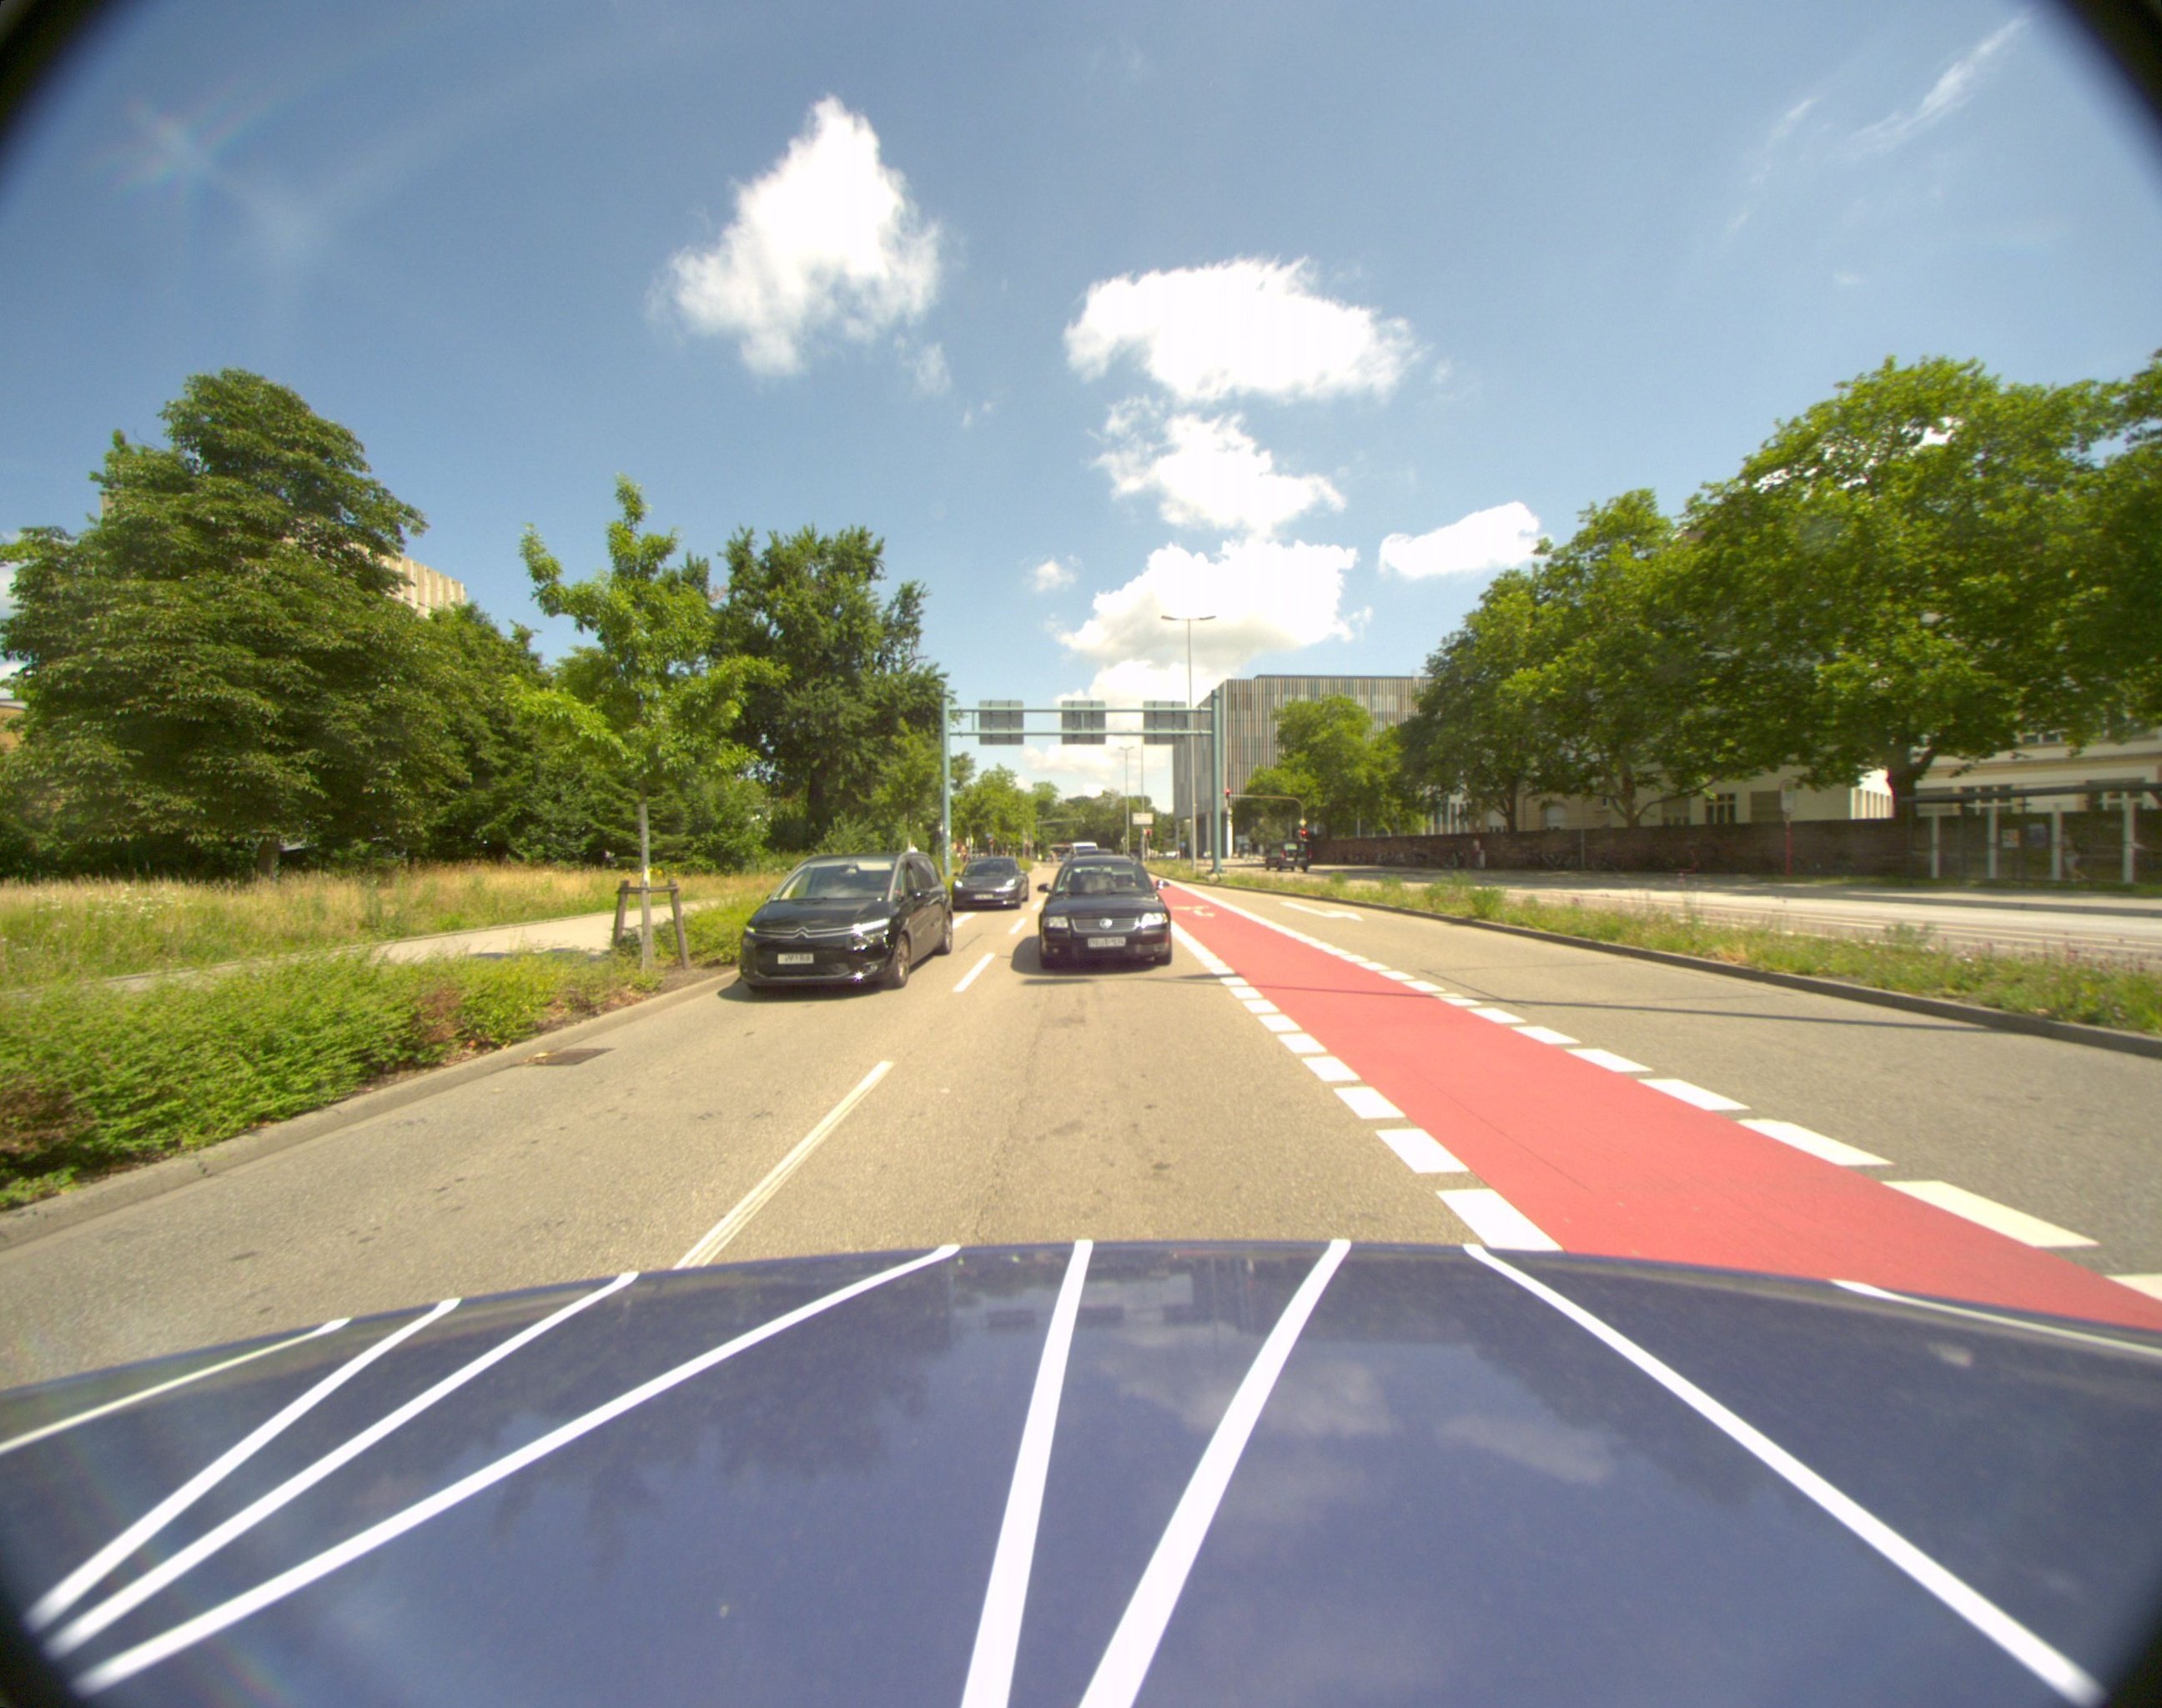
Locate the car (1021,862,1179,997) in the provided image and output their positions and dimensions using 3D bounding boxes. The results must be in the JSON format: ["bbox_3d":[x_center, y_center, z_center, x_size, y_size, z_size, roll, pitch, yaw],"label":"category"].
[{"bbox_3d":[0.263,0.873,10.840,1.751,1.426,4.520,-1,0,1],"label":"car"}]

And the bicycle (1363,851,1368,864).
[{"bbox_3d":[22.455,0.301,60.020,0.329,1.012,1.673,0,1,21],"label":"bicycle"}]

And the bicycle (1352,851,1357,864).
[{"bbox_3d":[22.211,0.288,61.661,0.329,1.012,1.673,0,1,21],"label":"bicycle"}]

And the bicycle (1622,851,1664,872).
[{"bbox_3d":[27.037,0.348,36.576,0.398,0.998,1.759,-1,1,-14],"label":"bicycle"}]

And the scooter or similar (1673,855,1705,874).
[{"bbox_3d":[27.090,0.463,33.877,0.353,0.789,1.067,-1,1,-25],"label":"scooter or similar"}]

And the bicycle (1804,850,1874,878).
[{"bbox_3d":[29.240,0.358,29.353,0.398,1.037,1.954,-1,1,-19],"label":"bicycle"}]

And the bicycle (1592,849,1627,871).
[{"bbox_3d":[26.617,0.294,38.259,0.398,1.037,1.581,-1,1,-14],"label":"bicycle"}]

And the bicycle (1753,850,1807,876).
[{"bbox_3d":[28.624,0.337,31.154,0.398,1.037,1.637,-1,1,-19],"label":"bicycle"}]

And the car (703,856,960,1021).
[{"bbox_3d":[-2.973,0.896,10.224,1.863,1.613,4.520,-3,0,1],"label":"car"}]

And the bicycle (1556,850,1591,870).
[{"bbox_3d":[26.098,0.329,40.285,0.398,1.037,1.759,-1,1,-14],"label":"bicycle"}]

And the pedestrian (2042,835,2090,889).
[{"bbox_3d":[29.915,0.247,23.089,0.724,1.602,0.779,-1,1,-29],"label":"pedestrian"}]

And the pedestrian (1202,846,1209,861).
[{"bbox_3d":[16.188,-0.070,98.730,0.632,1.907,0.718,-2,2,-3],"label":"pedestrian"}]

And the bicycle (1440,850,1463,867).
[{"bbox_3d":[24.186,0.307,49.608,0.383,1.101,1.668,-1,1,-12],"label":"bicycle"}]

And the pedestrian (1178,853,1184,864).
[{"bbox_3d":[16.413,0.734,124.303,0.715,1.906,0.807,-2,2,-5],"label":"pedestrian"}]

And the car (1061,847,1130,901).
[{"bbox_3d":[0.369,0.596,24.545,1.752,1.496,4.518,-3,0,-4],"label":"car"}]

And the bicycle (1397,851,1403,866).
[{"bbox_3d":[23.116,0.312,55.070,0.382,1.101,1.673,0,1,21],"label":"bicycle"}]

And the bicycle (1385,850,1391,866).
[{"bbox_3d":[22.872,0.292,56.686,0.382,1.101,1.673,0,1,21],"label":"bicycle"}]

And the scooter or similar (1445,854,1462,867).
[{"bbox_3d":[23.695,0.424,48.375,0.353,0.838,1.068,-1,1,-13],"label":"scooter or similar"}]

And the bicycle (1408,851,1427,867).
[{"bbox_3d":[23.591,0.342,53.292,0.383,1.101,1.669,-1,1,-9],"label":"bicycle"}]

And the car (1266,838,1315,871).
[{"bbox_3d":[14.576,0.029,53.172,2.214,2.158,4.520,1,0,1],"label":"car"}]

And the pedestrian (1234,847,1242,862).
[{"bbox_3d":[19.614,0.073,95.017,0.715,1.906,0.807,-2,2,-5],"label":"pedestrian"}]

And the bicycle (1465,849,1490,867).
[{"bbox_3d":[24.507,0.236,47.017,0.383,1.037,1.668,-1,1,-12],"label":"bicycle"}]

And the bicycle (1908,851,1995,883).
[{"bbox_3d":[30.155,0.430,26.365,0.398,1.037,1.954,-1,1,-19],"label":"bicycle"}]

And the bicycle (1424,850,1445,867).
[{"bbox_3d":[23.862,0.302,51.278,0.383,1.101,1.668,-1,1,-11],"label":"bicycle"}]

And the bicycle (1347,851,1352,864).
[{"bbox_3d":[22.076,0.270,62.391,0.329,1.012,1.673,0,1,21],"label":"bicycle"}]

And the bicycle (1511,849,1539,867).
[{"bbox_3d":[25.352,0.221,43.397,0.383,1.037,1.668,-1,1,-12],"label":"bicycle"}]

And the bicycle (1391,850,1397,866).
[{"bbox_3d":[22.977,0.302,55.826,0.382,1.101,1.673,0,1,21],"label":"bicycle"}]

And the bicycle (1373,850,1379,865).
[{"bbox_3d":[22.501,0.280,57.939,0.382,1.101,1.673,0,1,21],"label":"bicycle"}]

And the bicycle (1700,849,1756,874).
[{"bbox_3d":[28.025,0.326,32.935,0.398,1.037,1.955,-1,1,-17],"label":"bicycle"}]

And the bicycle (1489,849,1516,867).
[{"bbox_3d":[25.020,0.233,45.131,0.383,1.037,1.668,-1,1,-12],"label":"bicycle"}]

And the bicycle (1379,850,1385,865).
[{"bbox_3d":[22.762,0.280,57.502,0.382,1.101,1.673,0,1,21],"label":"bicycle"}]

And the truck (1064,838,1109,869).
[{"bbox_3d":[0.341,-0.017,62.327,2.464,2.287,5.810,-3,0,-11],"label":"truck"}]

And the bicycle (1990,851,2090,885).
[{"bbox_3d":[30.774,0.441,24.429,0.398,1.037,1.954,-1,1,-19],"label":"bicycle"}]

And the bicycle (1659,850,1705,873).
[{"bbox_3d":[27.493,0.323,34.812,0.398,1.037,1.759,-1,1,-15],"label":"bicycle"}]

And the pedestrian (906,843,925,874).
[{"bbox_3d":[-9.671,0.273,44.493,0.844,1.755,0.841,-2,2,0],"label":"pedestrian"}]

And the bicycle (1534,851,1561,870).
[{"bbox_3d":[25.709,0.337,41.867,0.377,1.037,1.415,-1,1,-14],"label":"bicycle"}]

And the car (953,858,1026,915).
[{"bbox_3d":[-2.537,0.852,22.046,1.766,1.409,4.362,-1,0,-3],"label":"car"}]

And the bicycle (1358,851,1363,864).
[{"bbox_3d":[22.346,0.293,60.733,0.329,1.012,1.673,0,1,21],"label":"bicycle"}]
